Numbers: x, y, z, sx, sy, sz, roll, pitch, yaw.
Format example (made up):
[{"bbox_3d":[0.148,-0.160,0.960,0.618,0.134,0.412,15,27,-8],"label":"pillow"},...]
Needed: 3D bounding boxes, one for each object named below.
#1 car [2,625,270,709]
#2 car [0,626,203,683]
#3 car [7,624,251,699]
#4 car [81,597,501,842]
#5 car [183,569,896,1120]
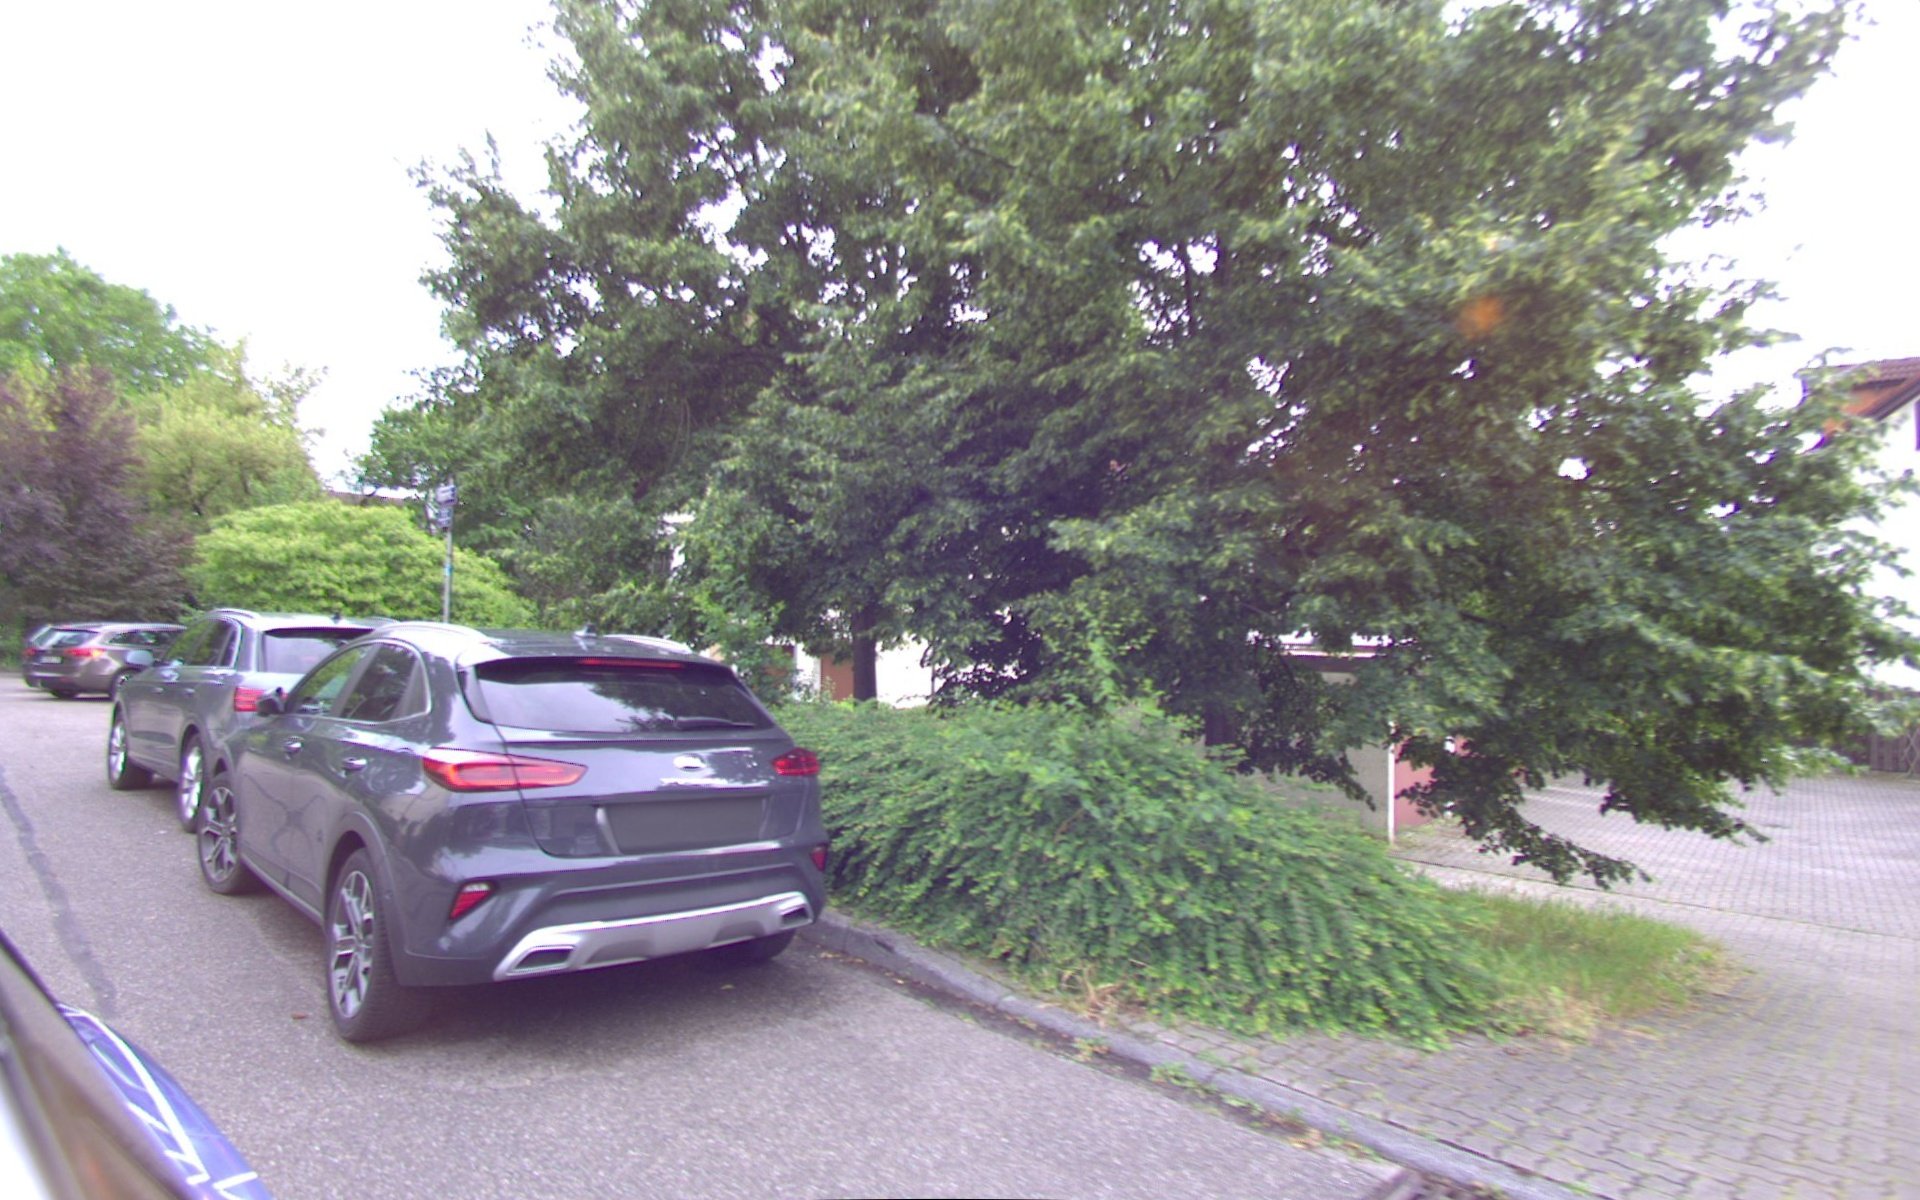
[{"bbox_3d":[-16.572,1.322,20.628,1.685,1.502,3.980,1,-2,15],"label":"car"},{"bbox_3d":[-22.988,1.443,27.228,1.685,1.385,3.980,1,-2,15],"label":"car"},{"bbox_3d":[-18.531,1.342,22.824,1.685,1.502,3.980,1,-2,15],"label":"car"},{"bbox_3d":[-5.717,0.836,8.441,4.248,1.543,1.724,-1,-5,40],"label":"car"},{"bbox_3d":[-2.365,0.776,4.979,1.721,1.543,4.198,6,-5,-44],"label":"car"}]
